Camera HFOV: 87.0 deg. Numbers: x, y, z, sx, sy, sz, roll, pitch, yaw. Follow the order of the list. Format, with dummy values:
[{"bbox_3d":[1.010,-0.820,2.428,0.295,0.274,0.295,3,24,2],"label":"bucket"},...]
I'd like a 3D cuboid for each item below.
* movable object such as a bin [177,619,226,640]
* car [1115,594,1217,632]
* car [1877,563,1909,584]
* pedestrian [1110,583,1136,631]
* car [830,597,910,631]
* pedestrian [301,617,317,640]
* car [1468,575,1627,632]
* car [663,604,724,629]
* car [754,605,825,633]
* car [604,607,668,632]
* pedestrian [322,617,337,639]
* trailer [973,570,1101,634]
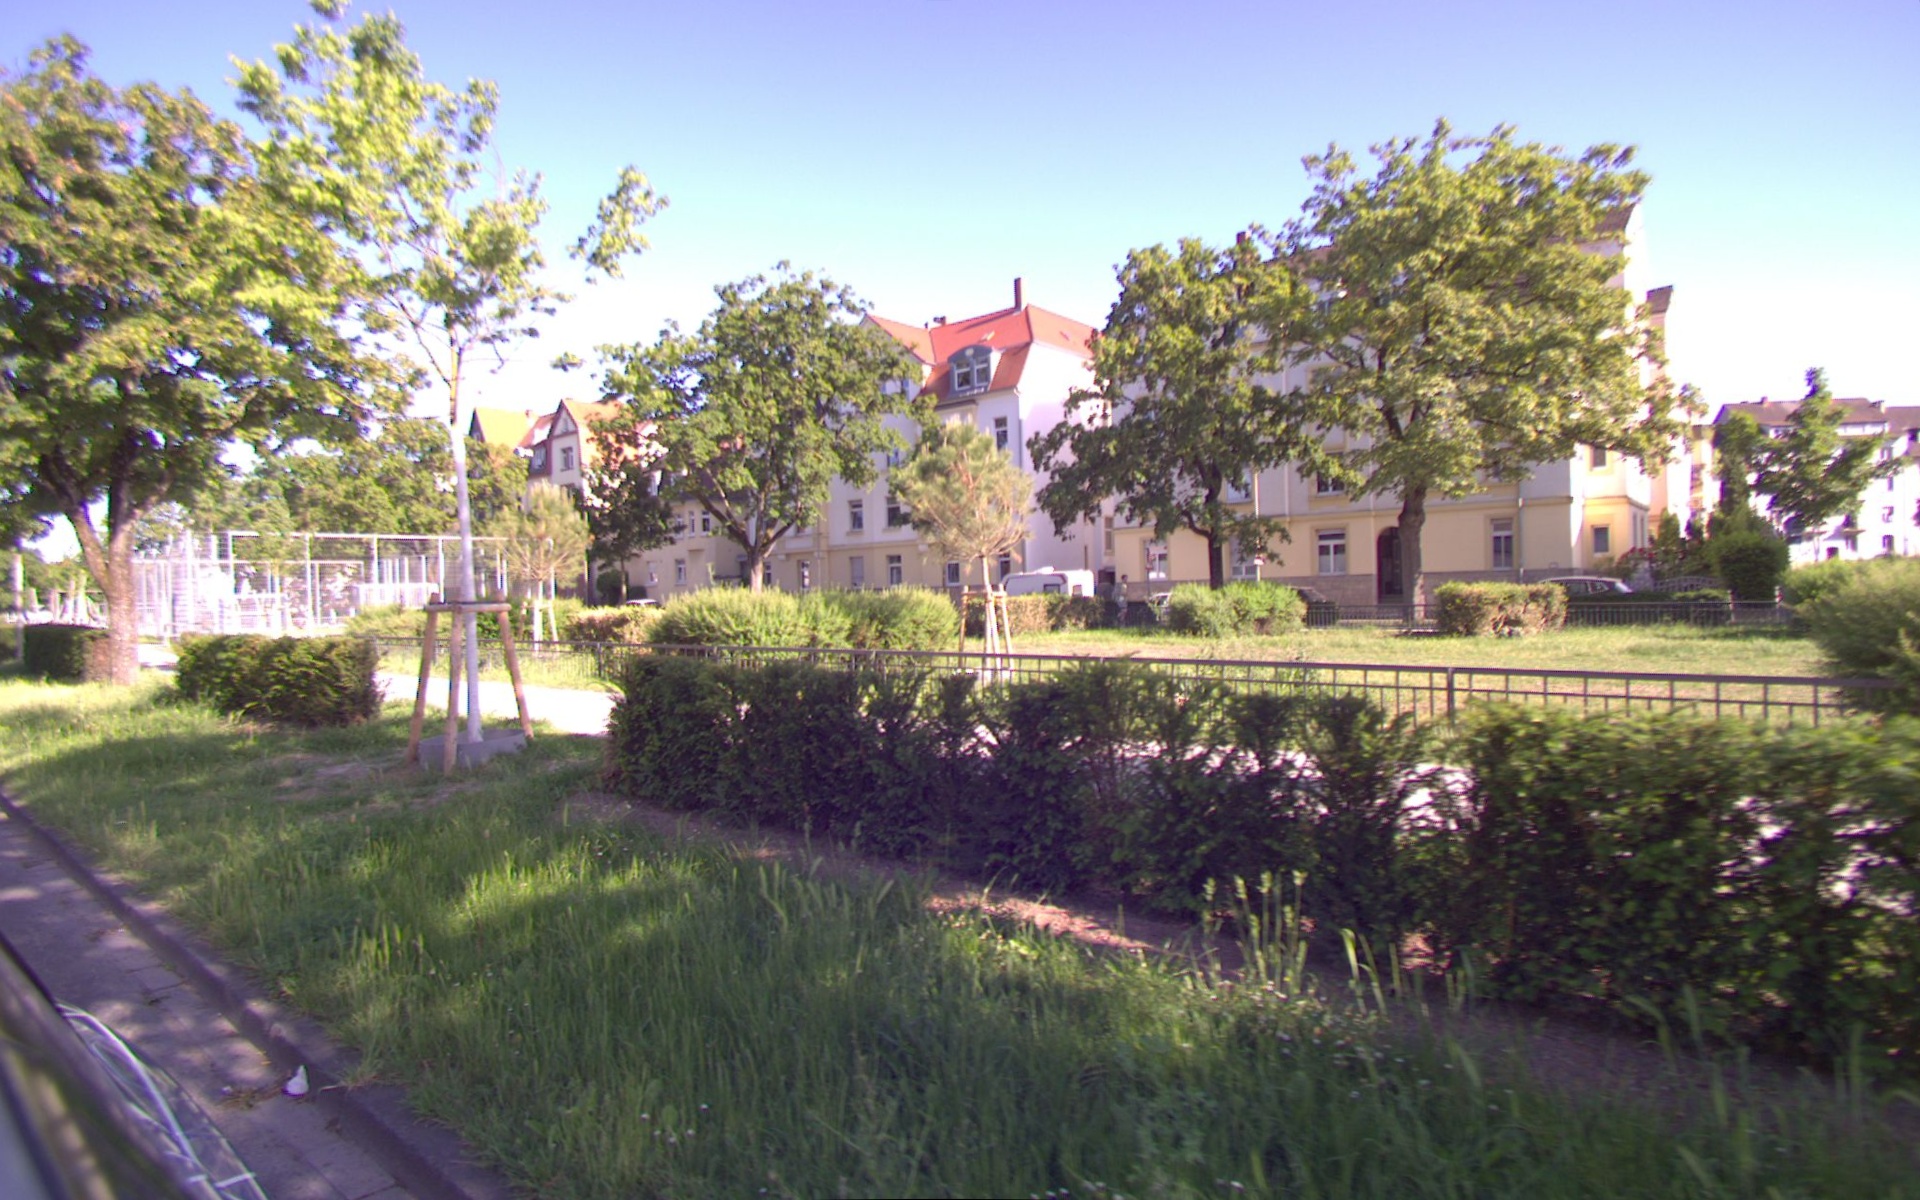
[{"bbox_3d":[-48.205,1.863,64.338,1.054,1.251,2.309,-2,-1,37],"label":"movable object such as a bin"},{"bbox_3d":[8.912,0.578,43.956,3.998,1.521,1.775,-2,0,41],"label":"car"},{"bbox_3d":[74.542,-2.116,80.922,1.800,1.521,3.945,-2,0,42],"label":"car"},{"bbox_3d":[5.698,0.242,35.380,0.650,1.674,0.641,-2,-1,41],"label":"pedestrian"},{"bbox_3d":[-4.991,0.795,55.934,4.486,1.790,1.776,-2,0,41],"label":"car"},{"bbox_3d":[-38.905,1.699,60.461,0.639,1.328,0.652,-2,0,-20],"label":"pedestrian"},{"bbox_3d":[19.943,0.135,34.439,4.452,1.829,1.777,-2,0,39],"label":"car"},{"bbox_3d":[-17.341,1.083,65.834,4.229,1.521,1.776,-2,0,41],"label":"car"},{"bbox_3d":[-10.153,1.127,59.962,4.345,1.521,1.776,-2,0,41],"label":"car"},{"bbox_3d":[-22.683,1.372,70.715,5.180,1.664,1.862,-2,0,41],"label":"car"},{"bbox_3d":[-37.884,1.671,60.806,0.639,1.328,0.652,-2,0,-20],"label":"pedestrian"},{"bbox_3d":[3.643,0.133,48.443,5.798,2.892,2.319,-2,0,40],"label":"trailer"}]
